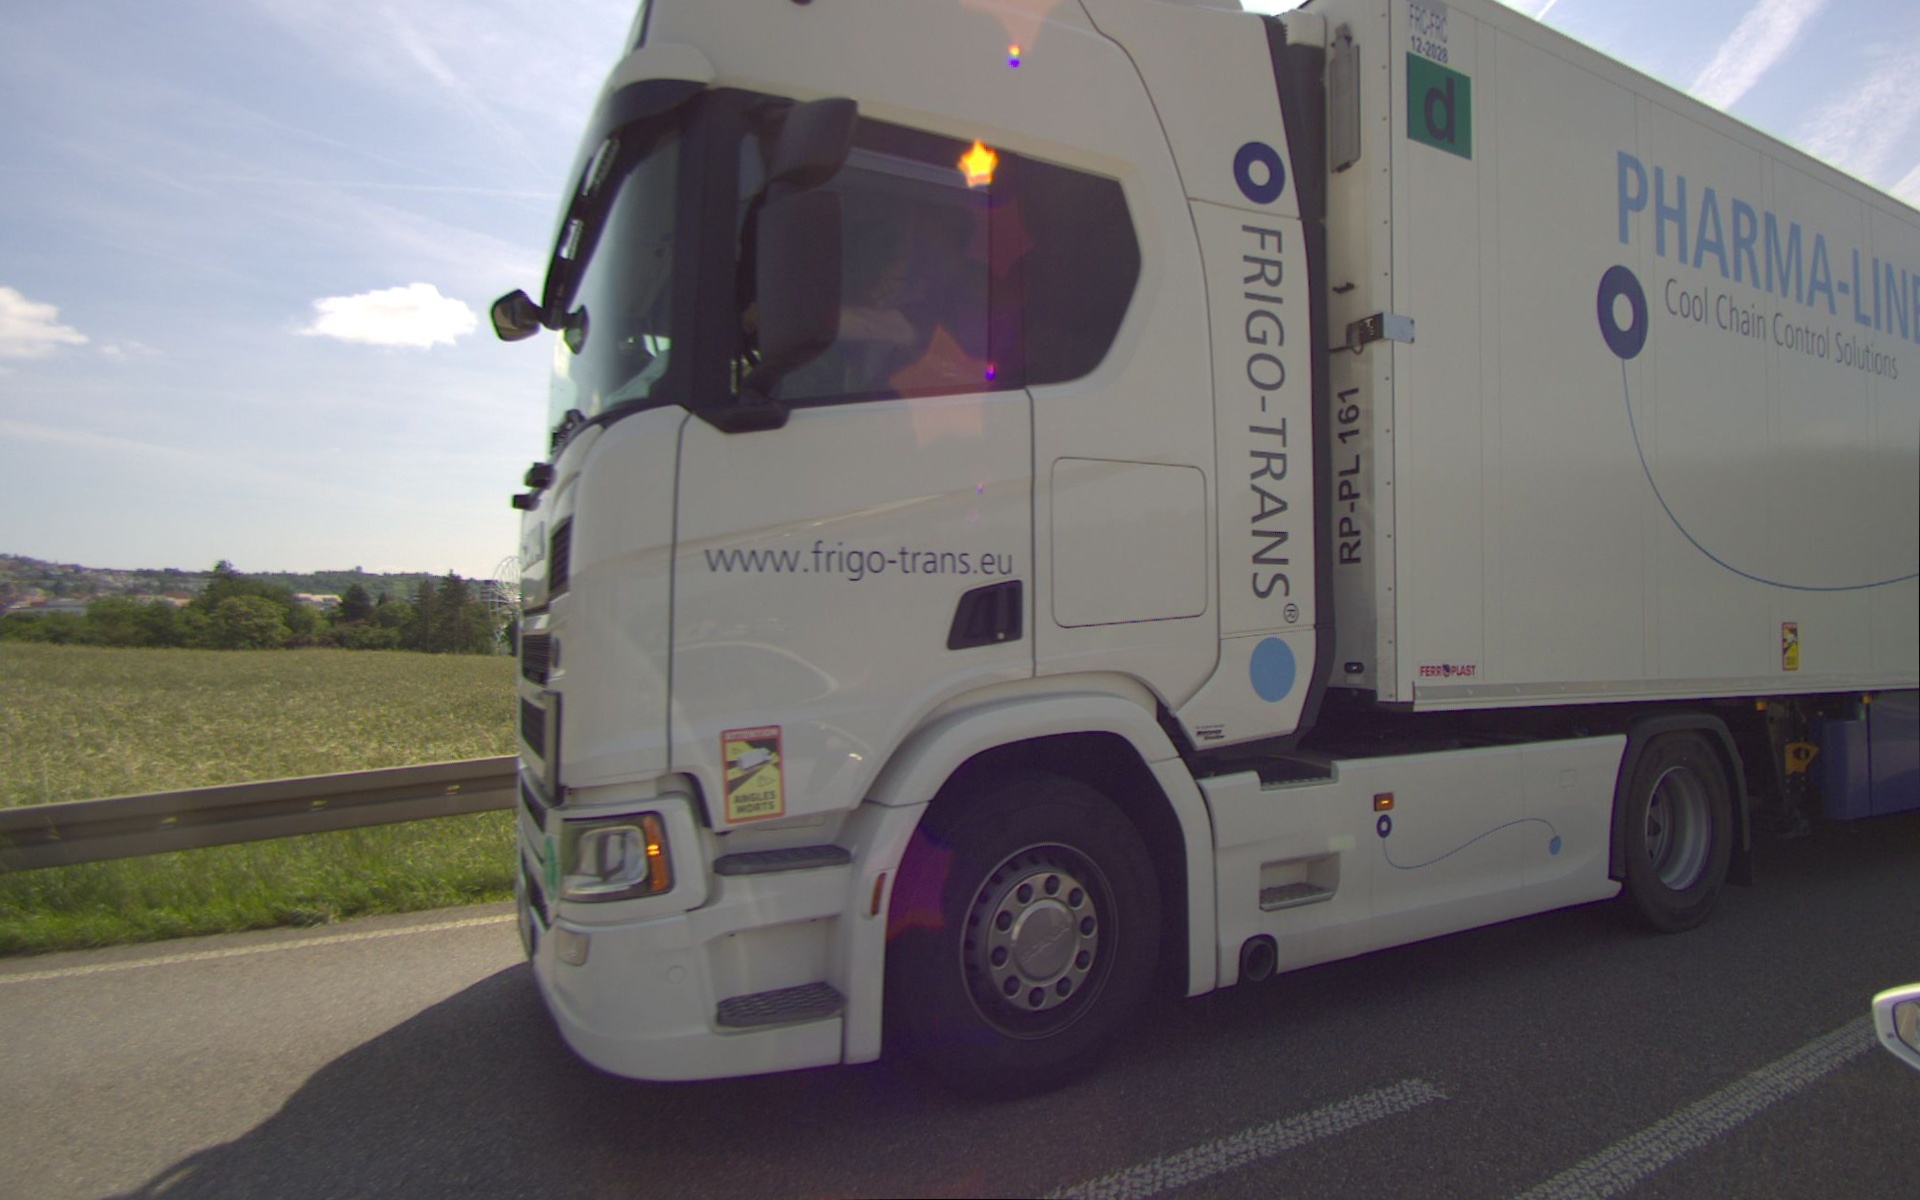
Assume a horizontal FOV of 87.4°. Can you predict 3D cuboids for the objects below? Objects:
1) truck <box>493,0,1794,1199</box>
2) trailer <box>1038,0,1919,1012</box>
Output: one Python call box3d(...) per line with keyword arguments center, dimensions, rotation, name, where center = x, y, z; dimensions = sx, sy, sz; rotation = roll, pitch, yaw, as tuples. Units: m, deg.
box3d(center=(1.094, -0.517, 4.904), dimensions=(5.947, 4.173, 2.520), rotation=(1, -2, -29), name="truck")
box3d(center=(7.059, -0.365, 8.225), dimensions=(13.727, 4.173, 2.497), rotation=(1, -2, -29), name="trailer")
